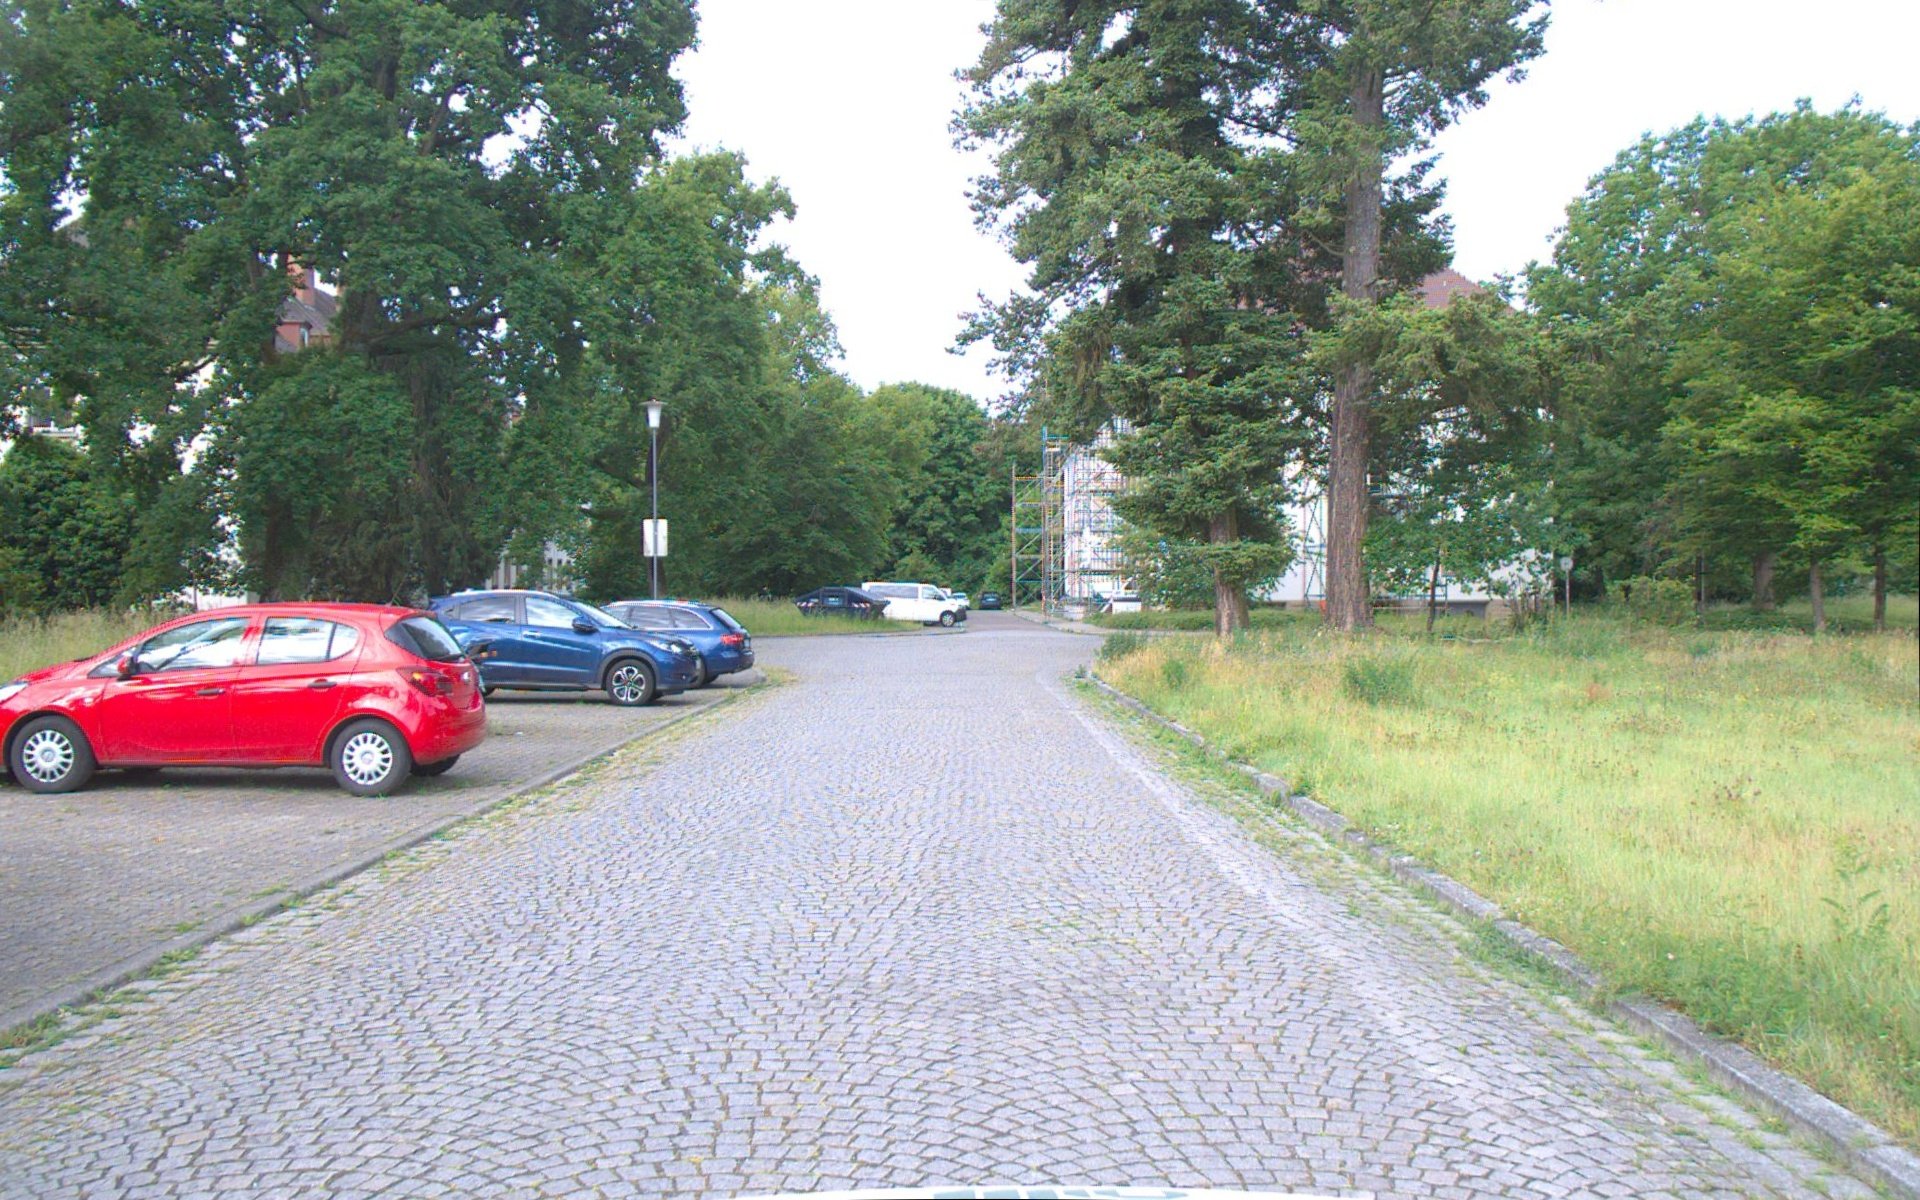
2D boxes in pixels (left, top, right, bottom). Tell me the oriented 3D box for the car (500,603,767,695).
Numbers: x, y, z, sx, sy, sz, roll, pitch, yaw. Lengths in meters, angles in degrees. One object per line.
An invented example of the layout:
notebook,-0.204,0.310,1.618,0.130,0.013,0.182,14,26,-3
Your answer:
car,-5.594,0.821,28.739,4.214,1.486,1.975,1,0,1

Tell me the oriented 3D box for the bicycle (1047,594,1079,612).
bicycle,7.238,0.194,116.456,2.194,1.276,0.634,0,0,2

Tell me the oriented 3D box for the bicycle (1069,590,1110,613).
bicycle,7.090,0.079,90.645,2.194,1.276,0.778,0,0,2

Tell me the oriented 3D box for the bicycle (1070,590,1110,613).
bicycle,7.286,0.085,92.558,2.194,1.276,0.778,0,0,2

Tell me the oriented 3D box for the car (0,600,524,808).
car,-5.865,0.806,13.767,3.973,1.551,1.904,-1,0,-2

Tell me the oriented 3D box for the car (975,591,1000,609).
car,2.380,-0.012,143.929,1.912,1.548,3.999,0,0,-2

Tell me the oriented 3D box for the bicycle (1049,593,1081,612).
bicycle,7.220,0.186,114.124,2.194,1.276,0.627,0,0,2

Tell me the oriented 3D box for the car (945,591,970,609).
car,-0.242,0.028,143.606,2.076,1.548,3.999,0,0,-2

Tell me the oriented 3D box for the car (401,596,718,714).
car,-5.711,0.765,24.006,4.143,1.604,1.886,1,0,-2

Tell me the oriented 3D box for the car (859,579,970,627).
car,-2.152,0.126,77.593,5.130,2.206,1.999,0,0,-3

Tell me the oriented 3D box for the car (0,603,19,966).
car,-6.095,0.811,6.133,4.082,1.536,1.907,-1,0,-2

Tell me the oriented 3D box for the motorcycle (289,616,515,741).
motorcycle,-6.133,0.852,18.240,2.227,1.314,0.719,1,0,0
